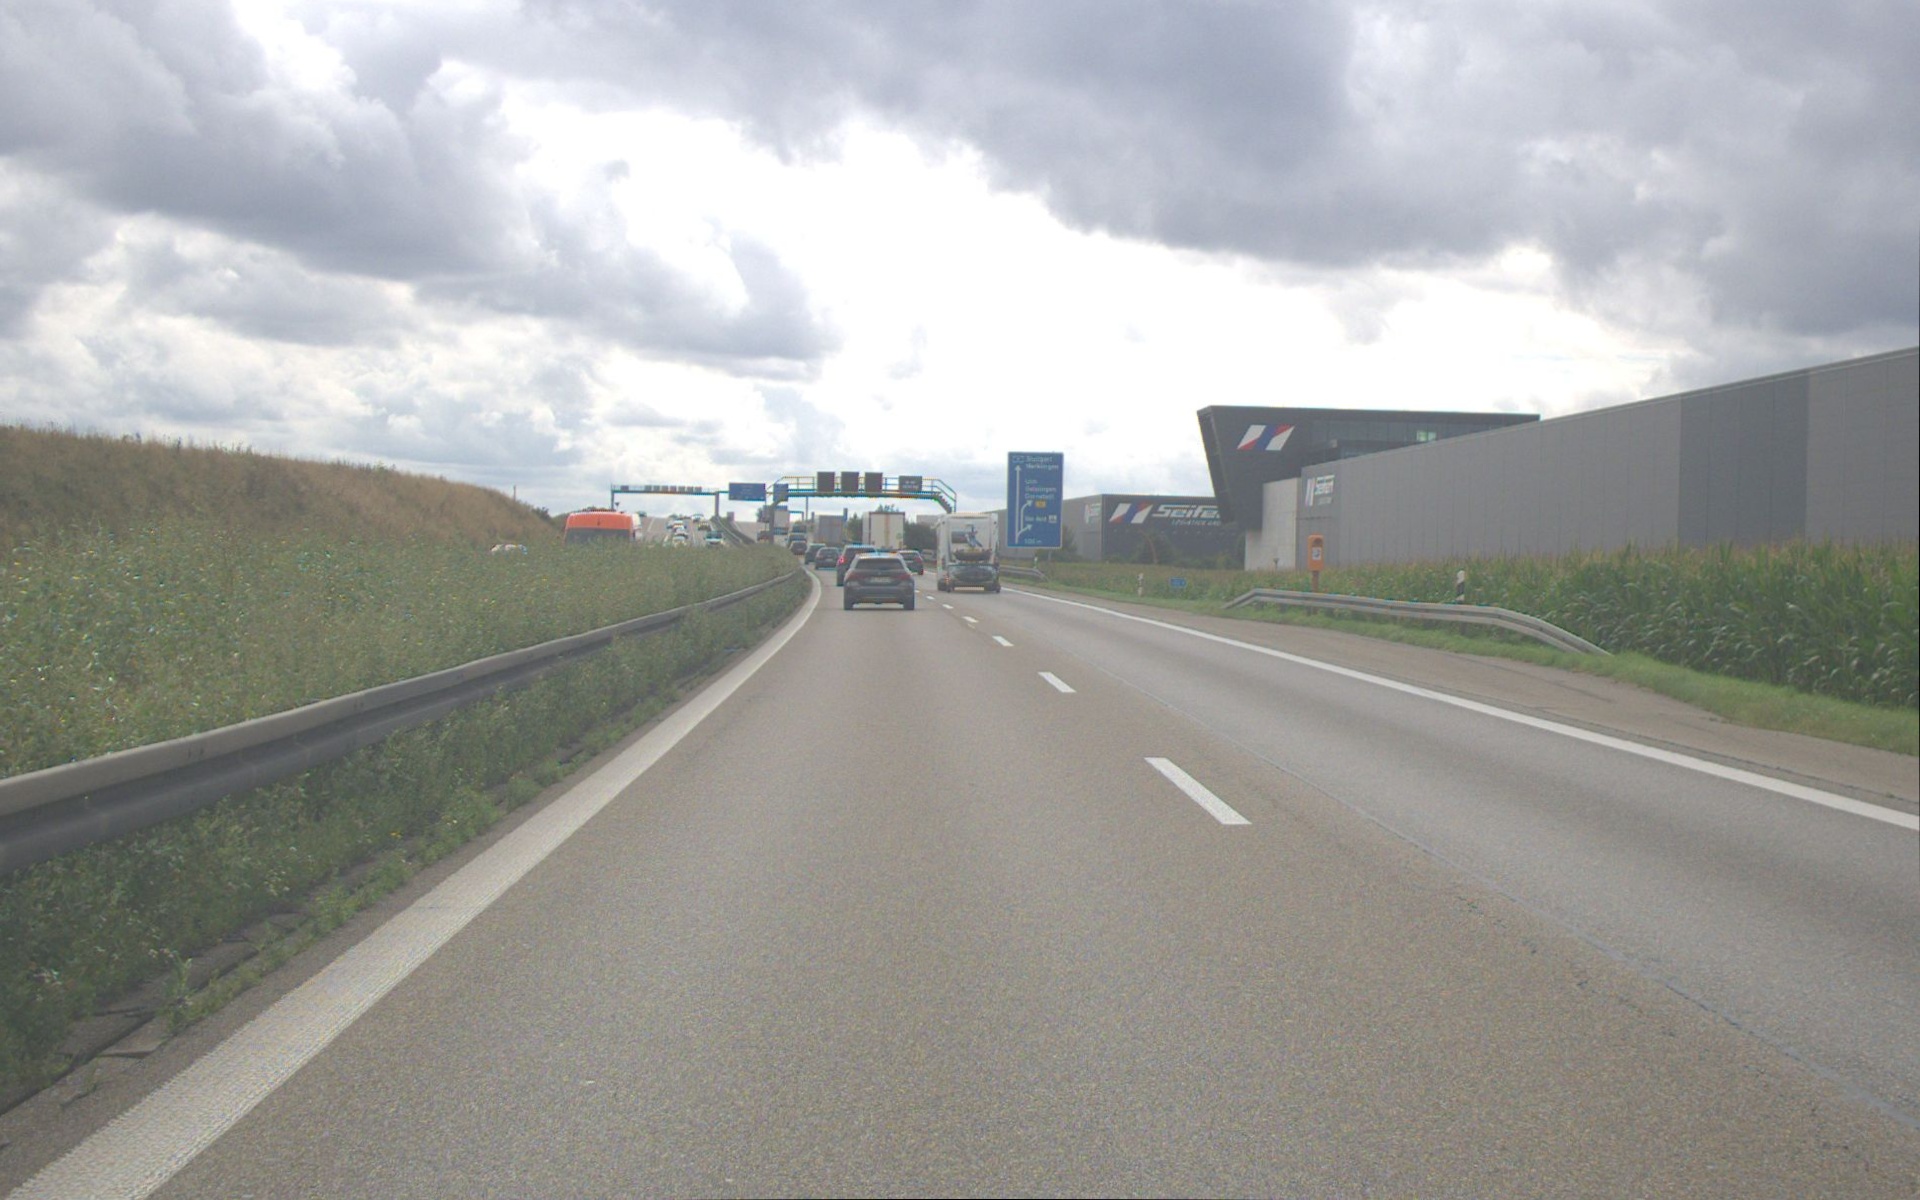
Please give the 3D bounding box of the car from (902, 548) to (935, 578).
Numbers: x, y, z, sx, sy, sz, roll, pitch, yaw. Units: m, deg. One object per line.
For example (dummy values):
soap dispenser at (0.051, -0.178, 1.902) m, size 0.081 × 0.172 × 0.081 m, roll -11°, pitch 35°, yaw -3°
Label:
car at (-2.443, -2.190, 202.001) m, size 1.801 × 1.679 × 4.001 m, roll 1°, pitch 1°, yaw -2°

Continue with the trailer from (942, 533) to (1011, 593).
trailer at (0.568, -1.343, 124.757) m, size 2.338 × 2.129 × 4.000 m, roll 1°, pitch 1°, yaw -2°

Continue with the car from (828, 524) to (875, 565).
car at (-4.673, -2.369, 147.839) m, size 1.945 × 1.679 × 4.000 m, roll 1°, pitch 1°, yaw -2°

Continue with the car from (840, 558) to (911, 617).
car at (-2.177, -0.344, 88.152) m, size 1.746 × 1.448 × 4.000 m, roll 1°, pitch 1°, yaw -2°

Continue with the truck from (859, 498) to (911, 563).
truck at (-5.494, -4.998, 249.118) m, size 3.339 × 4.518 × 8.018 m, roll 1°, pitch 0°, yaw -4°

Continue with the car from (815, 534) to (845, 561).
car at (-8.682, -3.484, 229.689) m, size 1.943 × 1.769 × 3.696 m, roll 1°, pitch 1°, yaw -2°

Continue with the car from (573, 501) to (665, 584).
car at (-9.648, -1.627, 97.771) m, size 2.124 × 2.259 × 5.453 m, roll 1°, pitch 1°, yaw -1°

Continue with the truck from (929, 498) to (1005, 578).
truck at (0.241, -2.347, 131.634) m, size 2.481 × 2.940 × 5.816 m, roll 1°, pitch 1°, yaw -4°
